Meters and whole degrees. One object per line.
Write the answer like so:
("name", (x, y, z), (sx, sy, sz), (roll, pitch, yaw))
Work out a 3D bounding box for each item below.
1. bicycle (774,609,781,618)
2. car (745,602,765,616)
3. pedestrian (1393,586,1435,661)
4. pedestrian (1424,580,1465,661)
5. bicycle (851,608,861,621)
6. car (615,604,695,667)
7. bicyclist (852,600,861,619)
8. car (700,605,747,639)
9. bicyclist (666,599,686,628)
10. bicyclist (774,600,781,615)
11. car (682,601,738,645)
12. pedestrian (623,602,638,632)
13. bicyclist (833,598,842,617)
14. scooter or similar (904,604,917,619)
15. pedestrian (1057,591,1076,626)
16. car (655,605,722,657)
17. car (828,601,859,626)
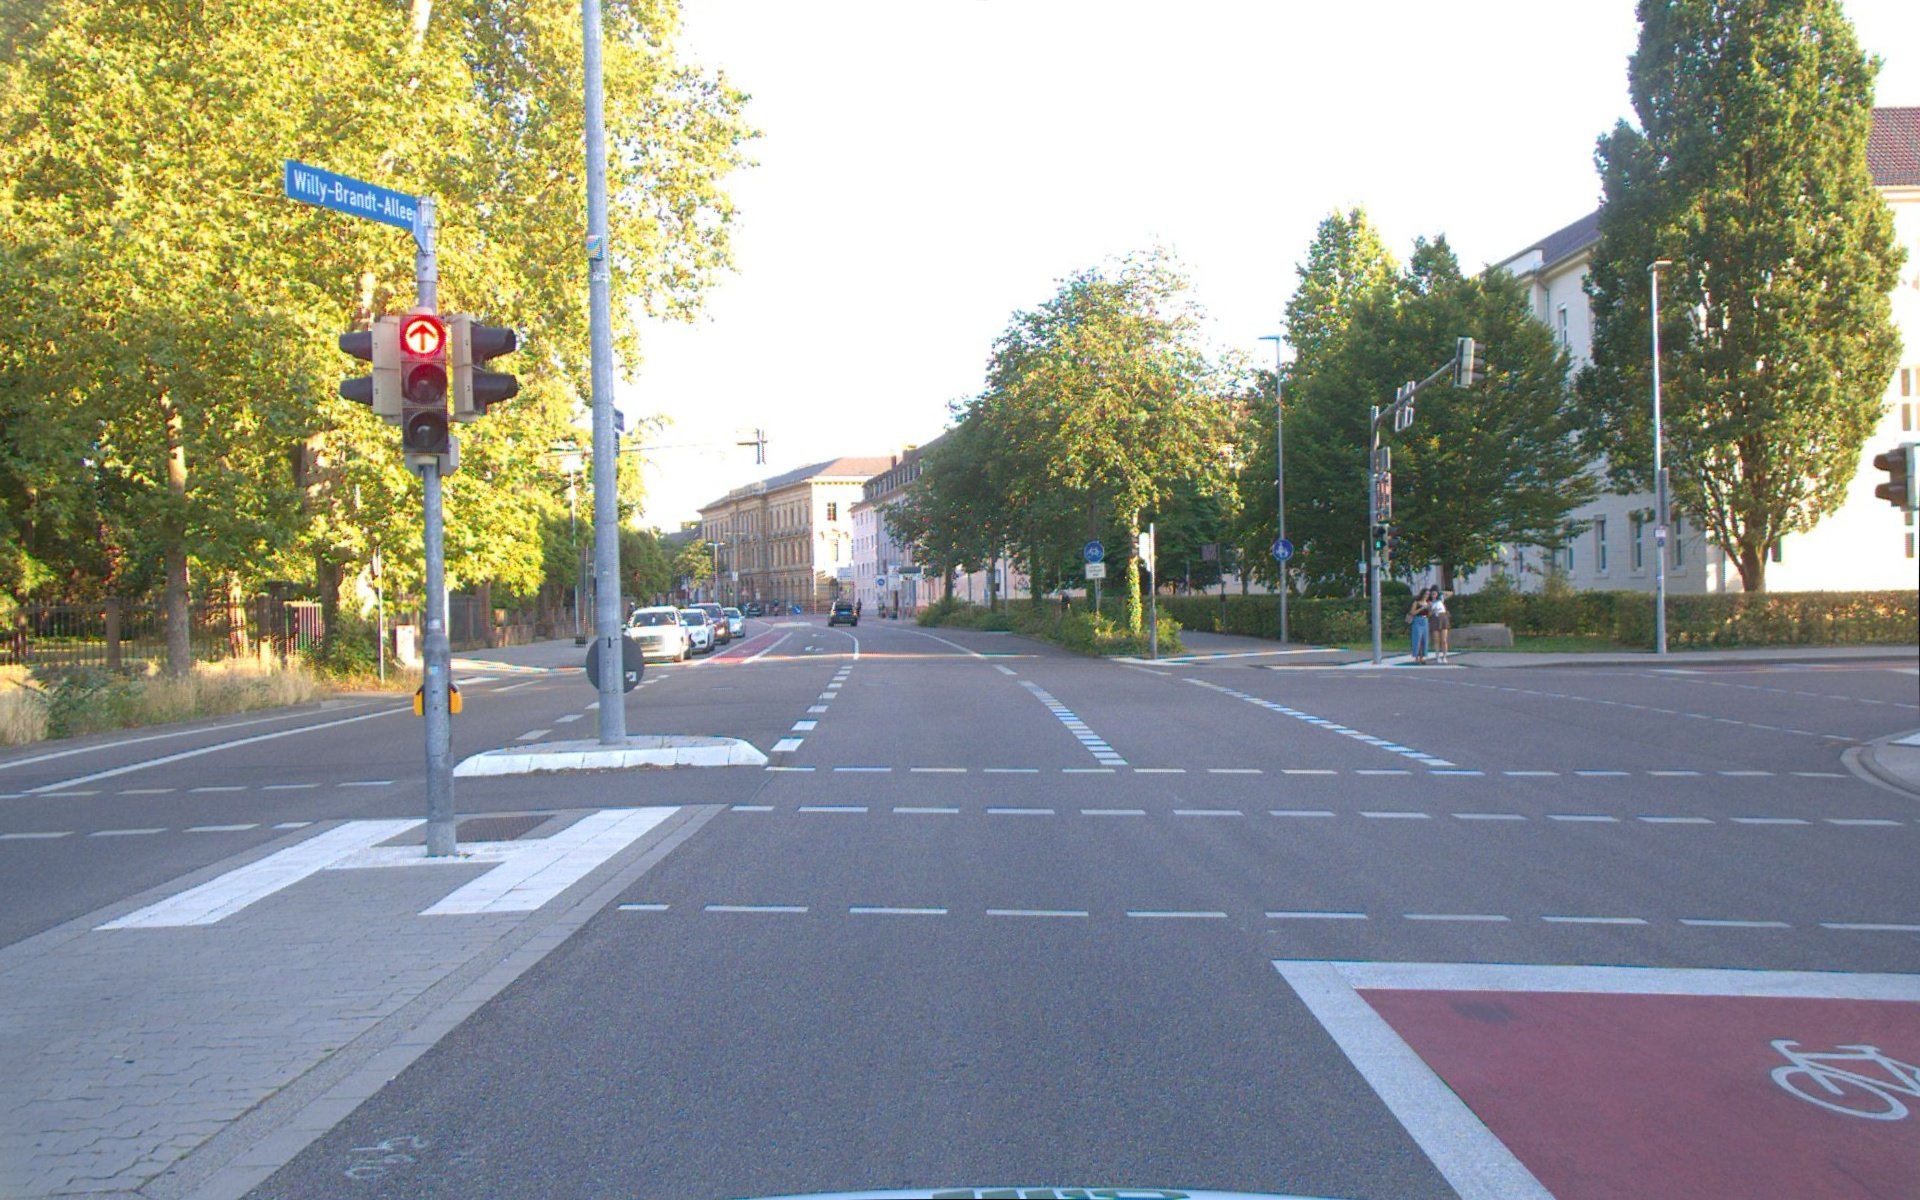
("bicycle", (-21.023, 1.532, 190.571), (0.640, 1.033, 2.191), (1, 0, -12))
("car", (-23.212, 0.987, 186.932), (1.882, 1.442, 4.758), (-3, 0, -11))
("pedestrian", (10.159, 0.511, 37.029), (0.667, 1.650, 0.845), (-1, 0, -1))
("pedestrian", (10.850, 0.445, 37.033), (0.667, 1.784, 0.688), (-1, 0, -1))
("bicycle", (-8.169, 1.156, 130.350), (0.639, 1.033, 2.194), (1, 0, -7))
("car", (-9.192, 1.027, 50.197), (1.879, 1.725, 4.422), (-3, 0, -5))
("bicyclist", (-8.159, 0.739, 130.318), (0.639, 1.501, 0.939), (1, 0, -7))
("car", (-11.141, 1.001, 78.212), (1.879, 1.442, 4.765), (-3, 0, -5))
("bicyclist", (-14.486, 0.692, 84.406), (0.838, 1.456, 0.943), (-1, 0, -1))
("bicyclist", (-21.006, 0.910, 190.543), (0.640, 1.727, 0.954), (1, -1, -12))
("car", (-10.200, 0.904, 67.674), (1.879, 1.653, 4.634), (-3, 0, -5))
("pedestrian", (-18.389, 0.923, 92.289), (0.667, 1.650, 0.688), (-1, 0, -1))
("bicyclist", (-9.641, 0.609, 130.367), (0.639, 1.471, 0.878), (1, 0, -7))
("scooter or similar", (-4.360, 1.012, 145.263), (0.619, 1.360, 2.391), (-1, 0, -14))
("pedestrian", (5.466, 0.455, 84.715), (0.756, 1.769, 0.805), (-1, 0, -10))
("car", (-9.439, 1.040, 57.803), (1.879, 1.611, 4.669), (-3, 0, -5))
("car", (-7.311, 0.857, 103.761), (1.830, 1.536, 3.998), (-1, 0, -3))
